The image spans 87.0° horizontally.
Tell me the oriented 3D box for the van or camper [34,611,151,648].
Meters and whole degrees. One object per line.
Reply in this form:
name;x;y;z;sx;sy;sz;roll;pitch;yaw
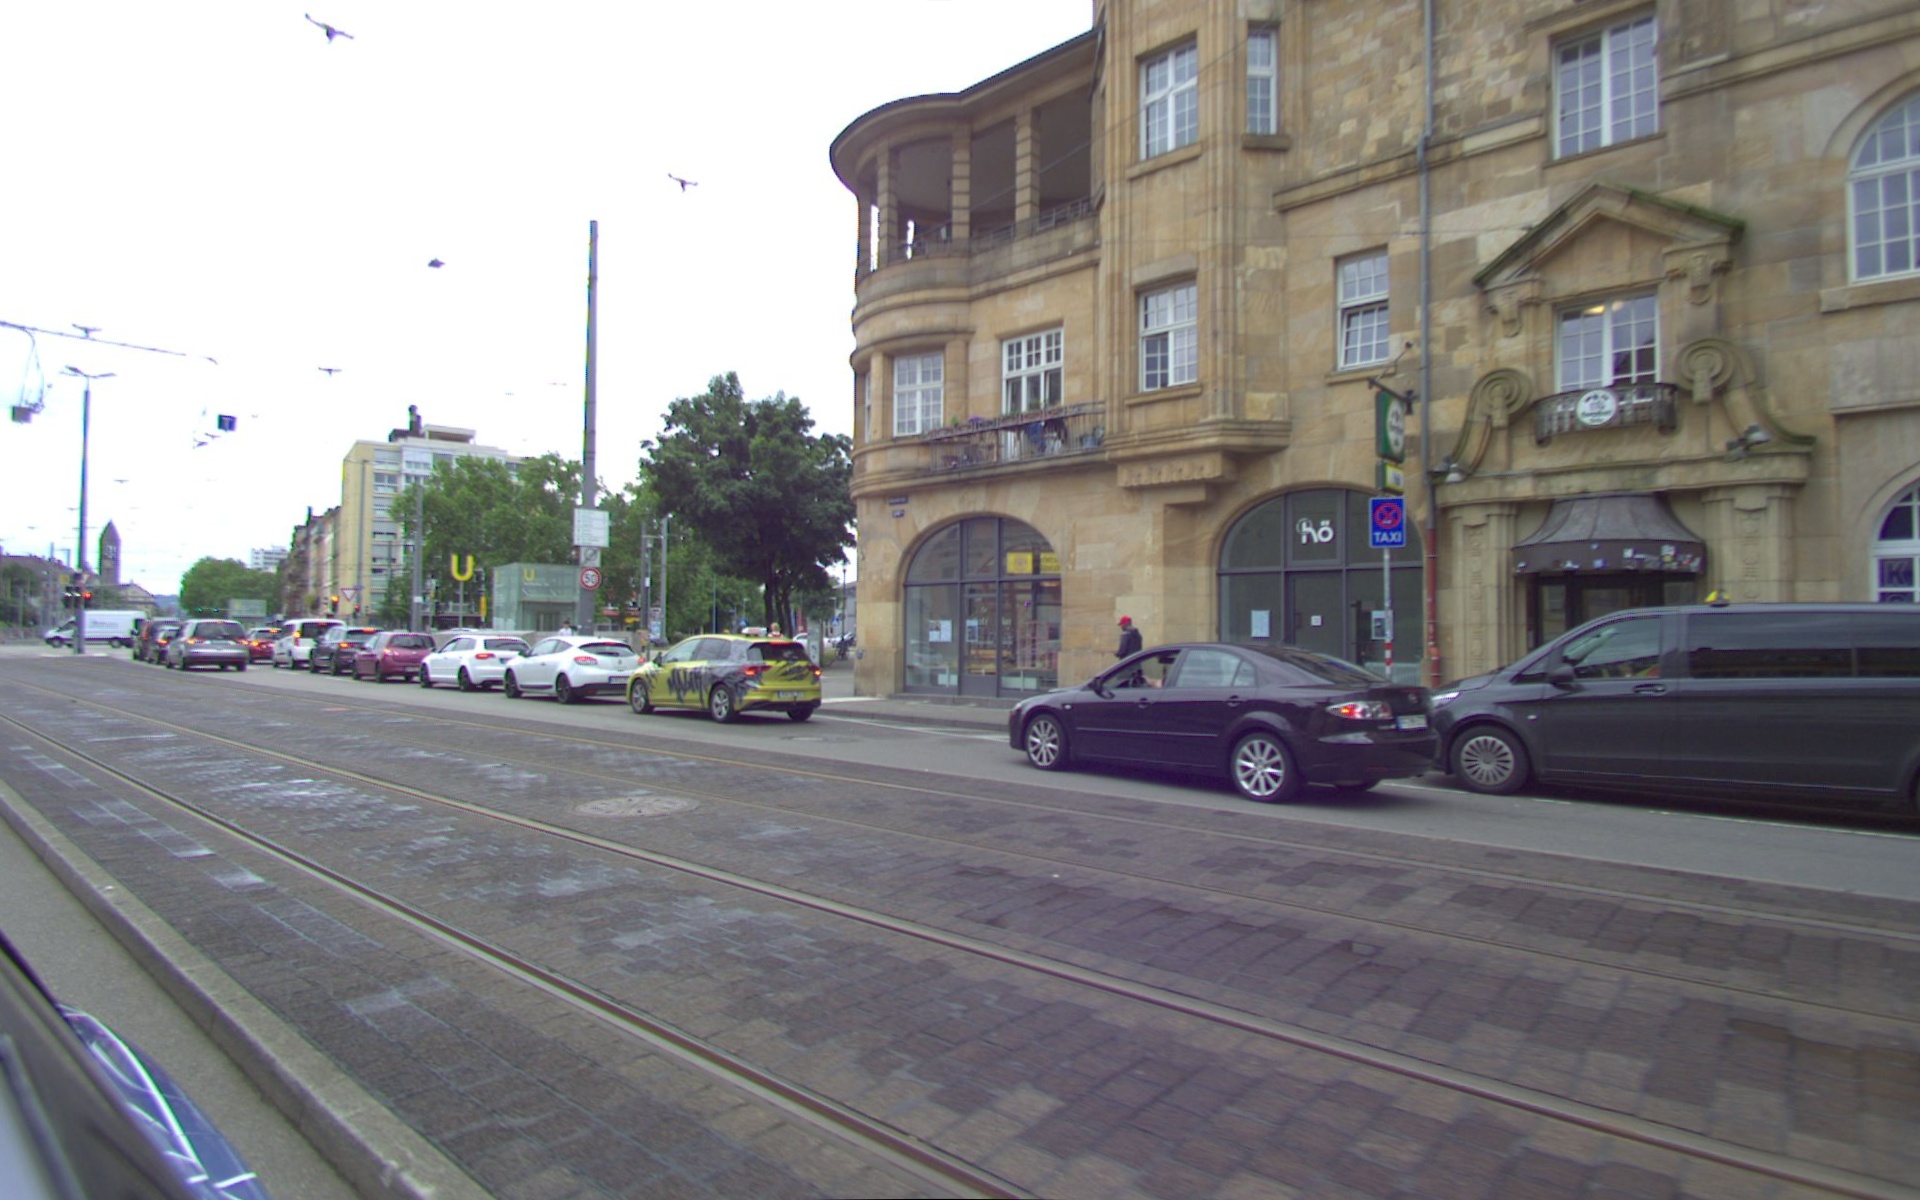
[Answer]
van or camper;-62.855;2.135;73.423;5.952;2.631;2.429;1;-1;-12

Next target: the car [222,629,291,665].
car;-29.404;1.936;42.254;1.669;1.453;4.002;3;-3;-45

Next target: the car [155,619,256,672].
car;-26.167;1.561;35.026;4.908;1.719;1.843;-2;-4;42

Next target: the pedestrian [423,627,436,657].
pedestrian;-30.745;2.421;58.638;0.592;1.741;0.915;1;-2;-23

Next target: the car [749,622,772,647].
car;-17.416;2.996;88.415;1.744;2.029;4.006;1;-1;-7

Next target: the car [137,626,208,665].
car;-31.017;1.747;39.819;1.669;1.453;4.002;3;-3;-45

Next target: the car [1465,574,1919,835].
car;7.444;0.873;8.882;5.094;1.992;1.879;-2;-5;41

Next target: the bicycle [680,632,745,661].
bicycle;-12.684;2.373;51.906;3.085;1.364;0.958;1;-1;9

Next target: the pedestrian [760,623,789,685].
pedestrian;-5.217;1.517;28.467;0.628;1.732;0.529;-1;-2;22

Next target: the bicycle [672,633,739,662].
bicycle;-12.723;2.345;50.592;3.085;1.364;0.958;1;-1;9

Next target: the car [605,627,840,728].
car;-4.220;1.279;17.552;4.430;1.522;1.877;-2;-4;45

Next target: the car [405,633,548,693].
car;-12.494;1.605;26.039;4.361;1.390;1.728;-2;-5;42

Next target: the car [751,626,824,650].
car;-13.735;3.069;80.906;5.379;1.870;2.160;0;-2;5

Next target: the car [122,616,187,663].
car;-34.945;1.695;43.856;1.669;1.915;4.389;3;-3;-45

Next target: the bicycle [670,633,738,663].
bicycle;-12.410;2.320;49.144;3.085;1.364;0.958;1;-1;9

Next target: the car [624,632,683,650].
car;-24.401;3.260;80.681;4.208;1.431;1.641;0;-2;-1

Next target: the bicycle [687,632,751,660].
bicycle;-12.633;2.397;53.070;3.085;1.364;0.958;1;-1;9

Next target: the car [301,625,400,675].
car;-20.316;1.654;33.658;1.841;1.546;4.305;5;-5;-44

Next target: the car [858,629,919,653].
car;-5.650;3.206;80.154;4.469;1.853;1.995;0;-2;8

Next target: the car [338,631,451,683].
car;-16.638;1.647;29.711;3.896;1.410;1.842;-2;-5;45

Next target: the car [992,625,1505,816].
car;2.570;1.041;10.045;1.804;1.444;4.674;5;-5;-40

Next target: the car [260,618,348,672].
car;-24.932;1.673;38.388;1.841;1.931;5.104;2;-3;-44

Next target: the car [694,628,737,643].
car;-22.967;3.335;95.292;3.683;1.431;1.641;0;-2;-1

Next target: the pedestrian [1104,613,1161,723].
pedestrian;2.811;1.095;16.512;0.764;1.741;0.490;-2;-3;38

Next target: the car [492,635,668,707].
car;-8.269;1.455;21.845;4.259;1.390;1.905;-2;-3;44
